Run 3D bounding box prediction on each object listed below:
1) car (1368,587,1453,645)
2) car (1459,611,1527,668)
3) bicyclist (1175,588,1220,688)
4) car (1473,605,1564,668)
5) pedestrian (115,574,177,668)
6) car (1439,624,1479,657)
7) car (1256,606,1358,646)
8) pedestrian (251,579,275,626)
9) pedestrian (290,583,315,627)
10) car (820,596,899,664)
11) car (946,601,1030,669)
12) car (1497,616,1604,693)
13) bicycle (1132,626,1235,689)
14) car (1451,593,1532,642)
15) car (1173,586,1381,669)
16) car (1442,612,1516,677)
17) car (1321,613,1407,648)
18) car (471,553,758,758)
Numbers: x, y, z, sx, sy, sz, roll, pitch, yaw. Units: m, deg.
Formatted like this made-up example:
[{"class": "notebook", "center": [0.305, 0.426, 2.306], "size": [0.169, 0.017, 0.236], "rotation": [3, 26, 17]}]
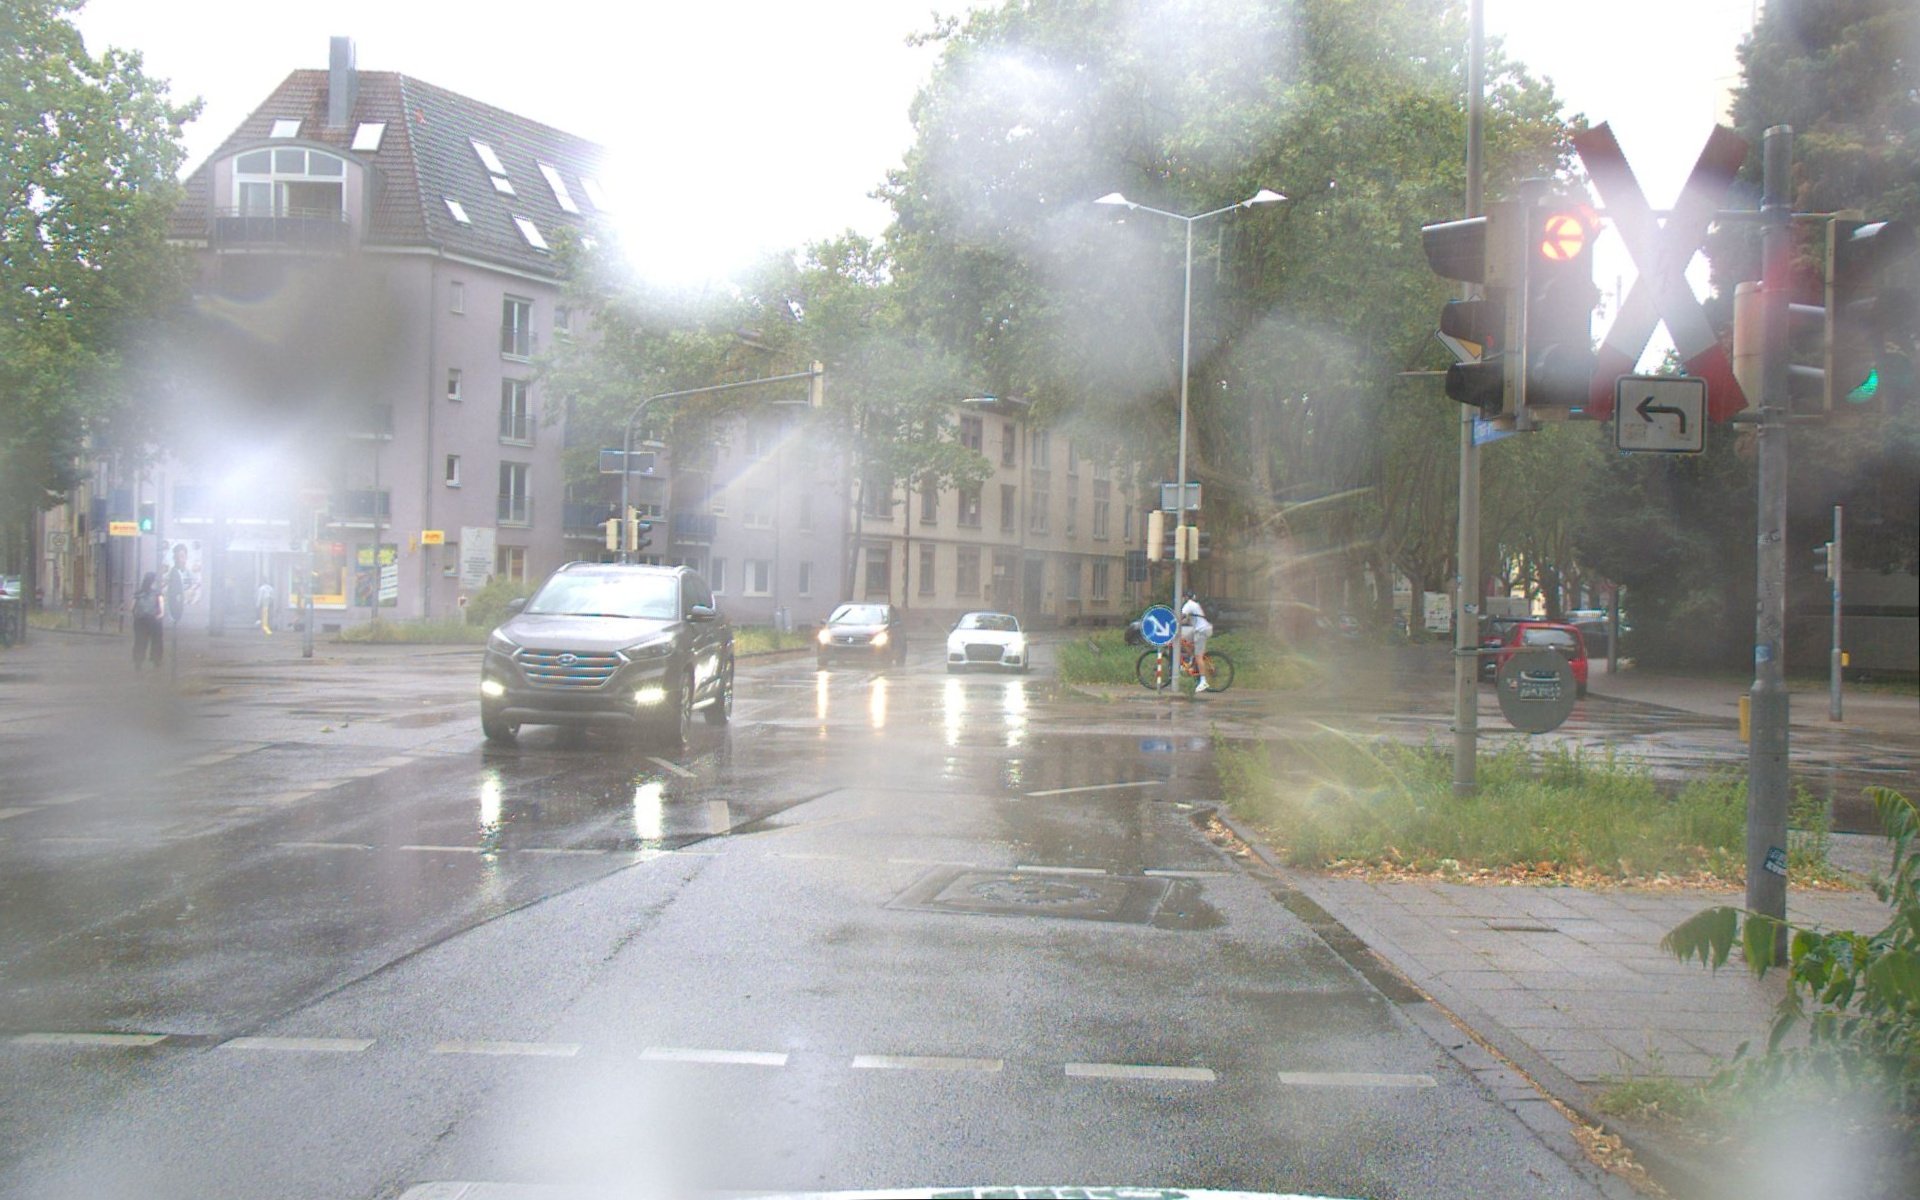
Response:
[{"class": "car", "center": [23.944, 0.841, 88.063], "size": [2.005, 2.999, 4.742], "rotation": [1, 0, -21]}, {"class": "car", "center": [18.338, 1.326, 57.081], "size": [1.881, 1.837, 4.003], "rotation": [1, 0, 13]}, {"class": "bicyclist", "center": [4.357, 0.691, 30.412], "size": [0.778, 1.817, 0.697], "rotation": [1, -1, 7]}, {"class": "car", "center": [13.891, 0.873, 41.299], "size": [1.745, 1.371, 3.932], "rotation": [2, 1, 13]}, {"class": "pedestrian", "center": [-13.721, 0.348, 27.904], "size": [0.736, 1.560, 0.789], "rotation": [1, -1, -12]}, {"class": "car", "center": [23.888, 1.922, 79.144], "size": [1.646, 1.500, 3.663], "rotation": [1, 0, 20]}, {"class": "car", "center": [13.768, 1.019, 65.646], "size": [3.902, 1.512, 2.002], "rotation": [1, 0, 12]}, {"class": "pedestrian", "center": [-21.985, 0.078, 52.171], "size": [0.434, 1.483, 0.562], "rotation": [1, -1, 11]}, {"class": "pedestrian", "center": [-20.593, 0.160, 51.812], "size": [0.435, 1.353, 0.562], "rotation": [1, -1, 18]}, {"class": "car", "center": [-2.318, 0.679, 38.821], "size": [1.679, 1.485, 3.747], "rotation": [1, 0, -1]}, {"class": "car", "center": [0.678, 0.791, 39.124], "size": [1.845, 1.461, 4.001], "rotation": [1, 0, 1]}, {"class": "car", "center": [13.046, 1.159, 36.729], "size": [1.754, 1.524, 4.003], "rotation": [1, 0, 13]}, {"class": "bicycle", "center": [4.108, 1.046, 30.437], "size": [1.833, 1.100, 0.657], "rotation": [1, 0, 7]}, {"class": "car", "center": [33.658, 1.078, 104.807], "size": [1.974, 2.999, 4.720], "rotation": [1, 0, -31]}, {"class": "car", "center": [6.280, 0.531, 32.785], "size": [3.902, 1.512, 2.002], "rotation": [1, 0, 12]}, {"class": "car", "center": [14.983, 1.249, 47.902], "size": [1.745, 1.757, 4.003], "rotation": [1, 0, 13]}, {"class": "car", "center": [19.252, 1.435, 78.920], "size": [3.902, 1.574, 2.002], "rotation": [1, 0, 12]}, {"class": "car", "center": [-3.244, 0.462, 16.469], "size": [1.766, 1.712, 4.604], "rotation": [1, 0, 1]}]
